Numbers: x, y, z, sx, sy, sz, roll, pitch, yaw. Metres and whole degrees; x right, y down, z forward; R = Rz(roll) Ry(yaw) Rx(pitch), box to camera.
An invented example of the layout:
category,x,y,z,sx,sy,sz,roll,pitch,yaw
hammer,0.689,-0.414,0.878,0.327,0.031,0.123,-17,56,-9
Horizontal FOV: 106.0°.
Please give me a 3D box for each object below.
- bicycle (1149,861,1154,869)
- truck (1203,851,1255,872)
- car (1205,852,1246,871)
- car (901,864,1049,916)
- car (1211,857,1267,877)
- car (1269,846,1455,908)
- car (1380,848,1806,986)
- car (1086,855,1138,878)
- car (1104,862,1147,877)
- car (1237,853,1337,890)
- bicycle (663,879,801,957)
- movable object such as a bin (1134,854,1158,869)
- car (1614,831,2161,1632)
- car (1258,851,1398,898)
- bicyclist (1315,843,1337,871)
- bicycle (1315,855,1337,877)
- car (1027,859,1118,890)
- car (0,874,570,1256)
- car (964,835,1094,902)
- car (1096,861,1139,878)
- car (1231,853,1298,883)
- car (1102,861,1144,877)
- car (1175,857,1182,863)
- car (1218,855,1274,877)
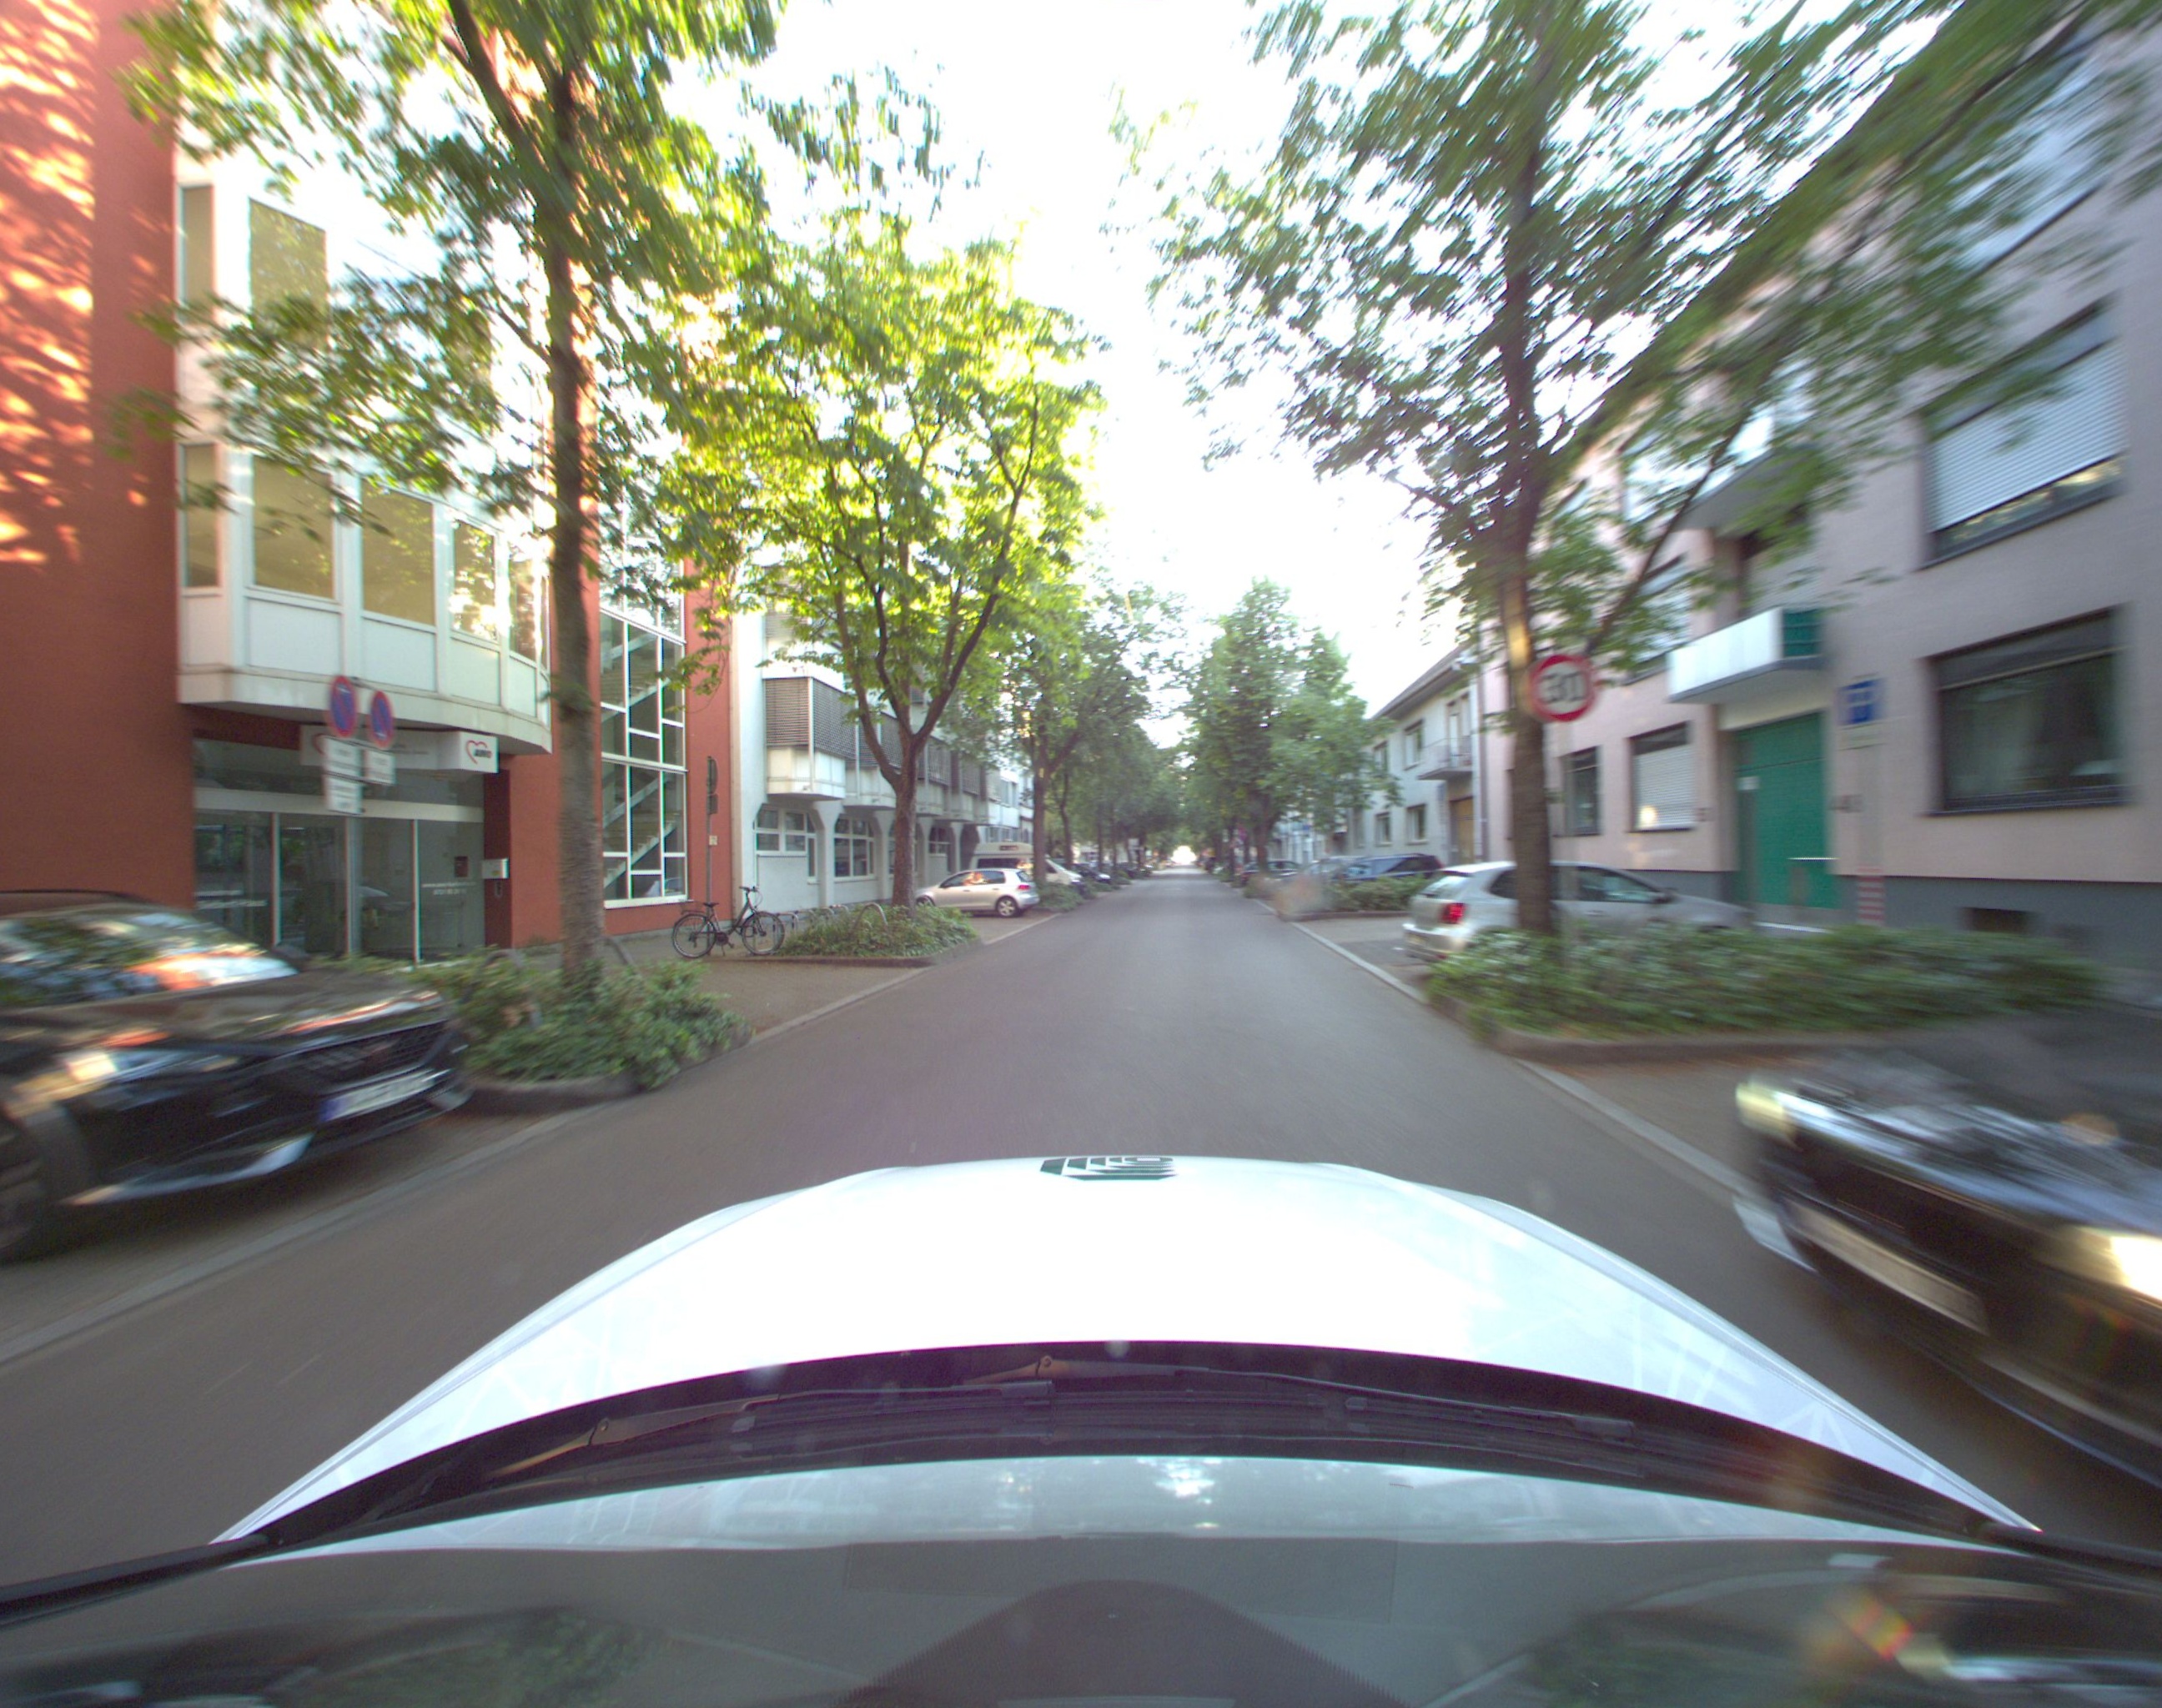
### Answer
category,x,y,z,sx,sy,sz,roll,pitch,yaw
bicycle,10.792,1.699,124.248,0.680,1.152,1.982,-1,0,2
truck,17.187,0.908,95.108,5.855,2.311,2.217,-1,-1,7
car,17.327,0.901,97.859,4.577,2.066,2.201,-2,-1,6
car,-3.227,1.085,25.297,4.145,1.468,1.957,-1,-1,7
car,13.942,1.136,72.065,4.576,1.468,1.799,-4,-1,6
car,8.032,0.663,23.743,4.811,1.448,2.047,-3,-1,9
car,6.036,0.719,10.027,4.063,1.490,1.800,-1,-1,4
car,2.786,1.146,72.631,4.483,1.955,2.003,-1,-1,5
car,4.680,1.596,85.415,4.264,1.430,1.883,-1,-1,7
car,9.793,0.823,38.986,4.430,1.427,2.017,-4,-1,11
bicycle,-5.703,1.037,13.358,1.951,1.176,0.656,-1,-1,0
movable object such as a bin,11.075,1.268,138.884,4.031,2.383,2.785,-1,0,1
car,4.537,0.664,2.157,4.848,1.497,1.992,-1,-1,7
car,9.036,0.749,30.147,4.651,1.388,2.005,-4,-1,8
bicyclist,14.163,0.172,47.107,0.965,1.604,1.138,-2,0,8
bicycle,14.039,0.672,46.768,0.617,1.164,3.407,-1,-1,6
car,-0.427,1.129,45.803,4.826,1.622,2.165,-1,-1,8
car,-5.617,0.928,4.515,4.485,1.526,1.875,-1,-1,6
car,-2.088,0.577,33.478,4.977,2.573,2.125,-1,-1,7
car,3.554,1.467,77.805,3.967,1.464,1.925,-1,-1,5
car,11.702,0.899,52.078,3.948,1.585,1.920,-4,-1,6
car,4.253,1.514,82.815,3.960,1.566,1.936,-1,-1,12
car,30.623,1.871,255.057,2.000,1.613,4.126,0,1,6
car,13.351,0.970,66.059,4.068,1.451,1.935,-4,-1,1
